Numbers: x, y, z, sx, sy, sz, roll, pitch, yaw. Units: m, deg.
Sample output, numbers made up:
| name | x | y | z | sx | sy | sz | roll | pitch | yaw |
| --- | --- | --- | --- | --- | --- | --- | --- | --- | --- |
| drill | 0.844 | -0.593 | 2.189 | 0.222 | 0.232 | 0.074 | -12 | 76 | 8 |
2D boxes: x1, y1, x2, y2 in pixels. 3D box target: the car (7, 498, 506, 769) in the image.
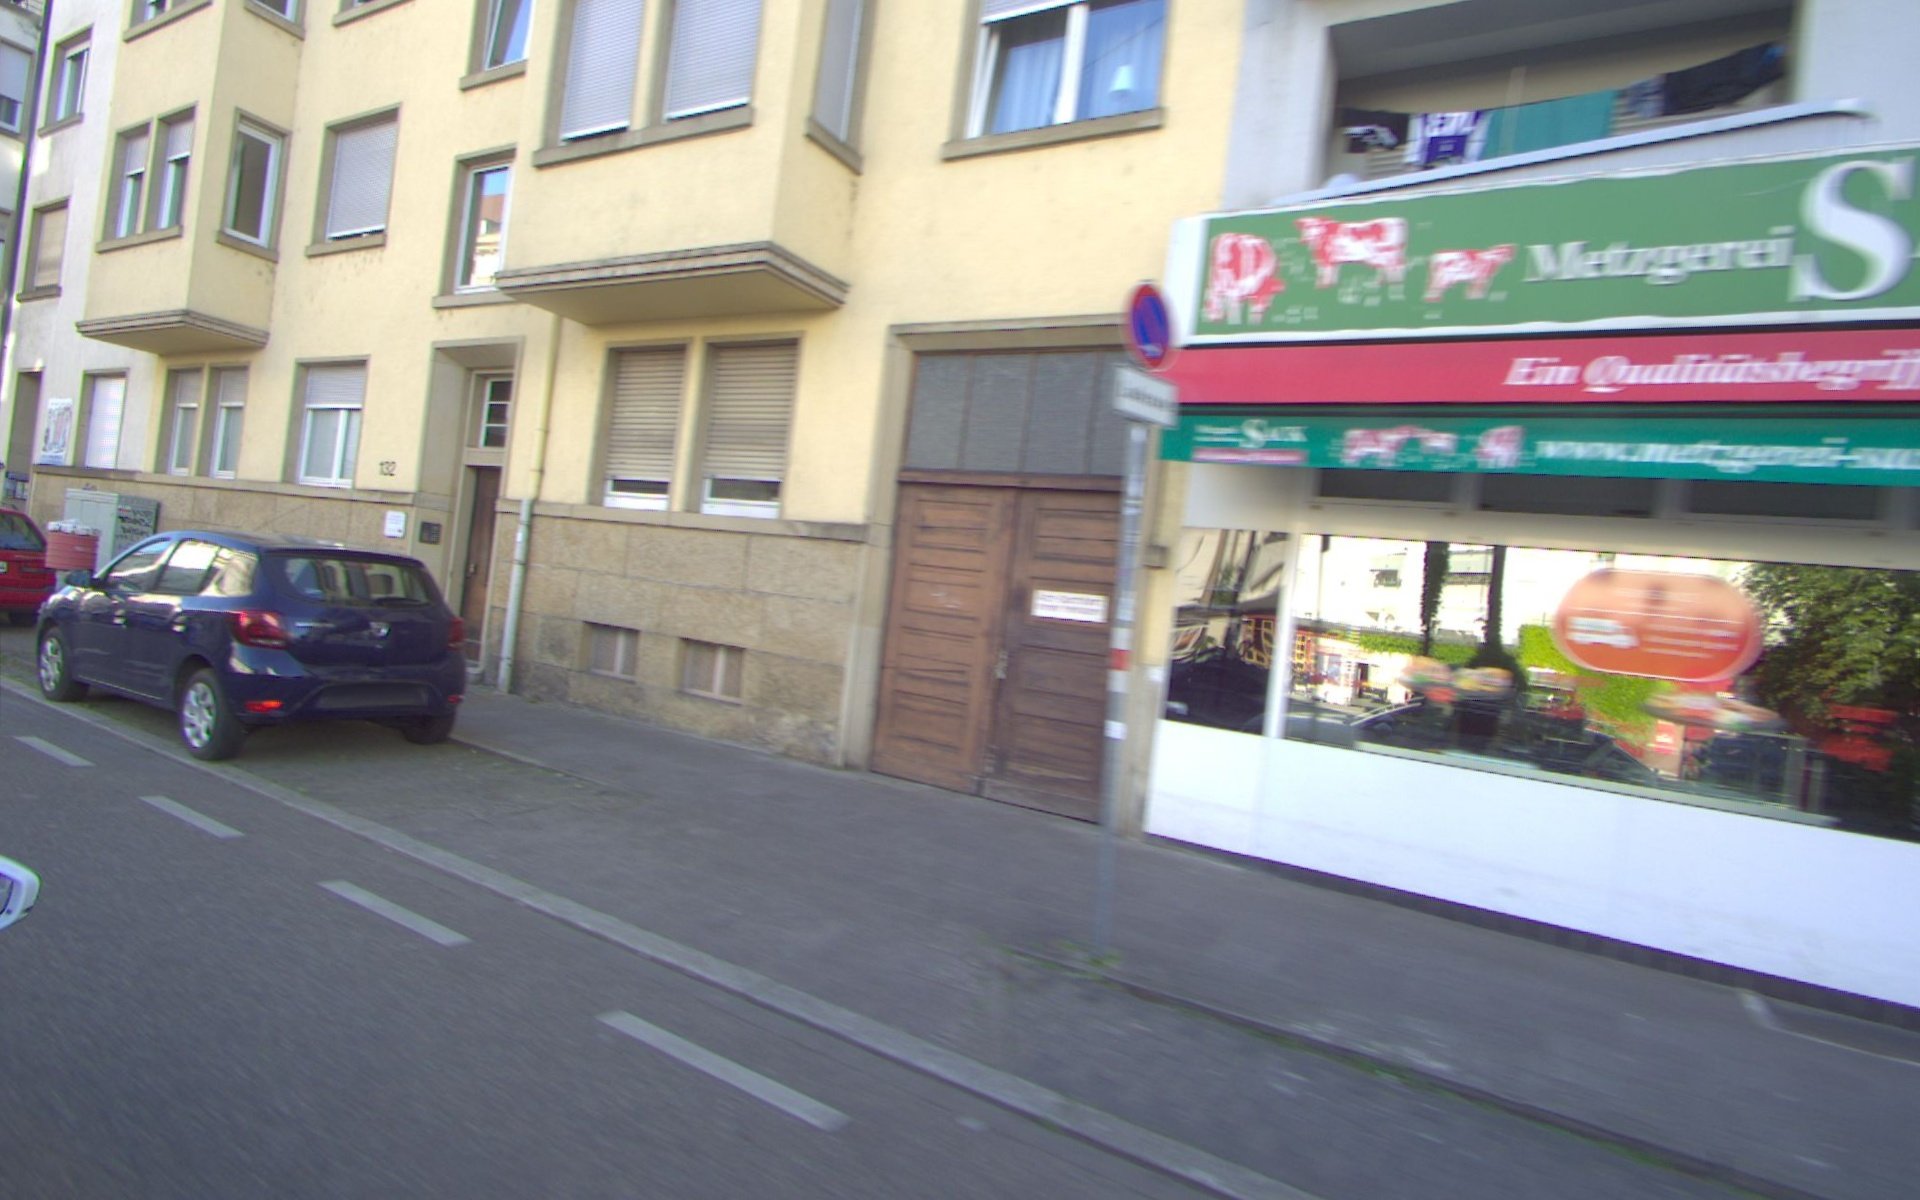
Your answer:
| name | x | y | z | sx | sy | sz | roll | pitch | yaw |
| --- | --- | --- | --- | --- | --- | --- | --- | --- | --- |
| car | -5.632 | 0.159 | 7.949 | 3.935 | 1.509 | 1.720 | 6 | 0 | 32 |

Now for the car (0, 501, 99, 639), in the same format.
| name | x | y | z | sx | sy | sz | roll | pitch | yaw |
| --- | --- | --- | --- | --- | --- | --- | --- | --- | --- |
| car | -12.615 | -0.580 | 12.183 | 4.631 | 1.473 | 1.862 | 7 | -1 | 31 |
